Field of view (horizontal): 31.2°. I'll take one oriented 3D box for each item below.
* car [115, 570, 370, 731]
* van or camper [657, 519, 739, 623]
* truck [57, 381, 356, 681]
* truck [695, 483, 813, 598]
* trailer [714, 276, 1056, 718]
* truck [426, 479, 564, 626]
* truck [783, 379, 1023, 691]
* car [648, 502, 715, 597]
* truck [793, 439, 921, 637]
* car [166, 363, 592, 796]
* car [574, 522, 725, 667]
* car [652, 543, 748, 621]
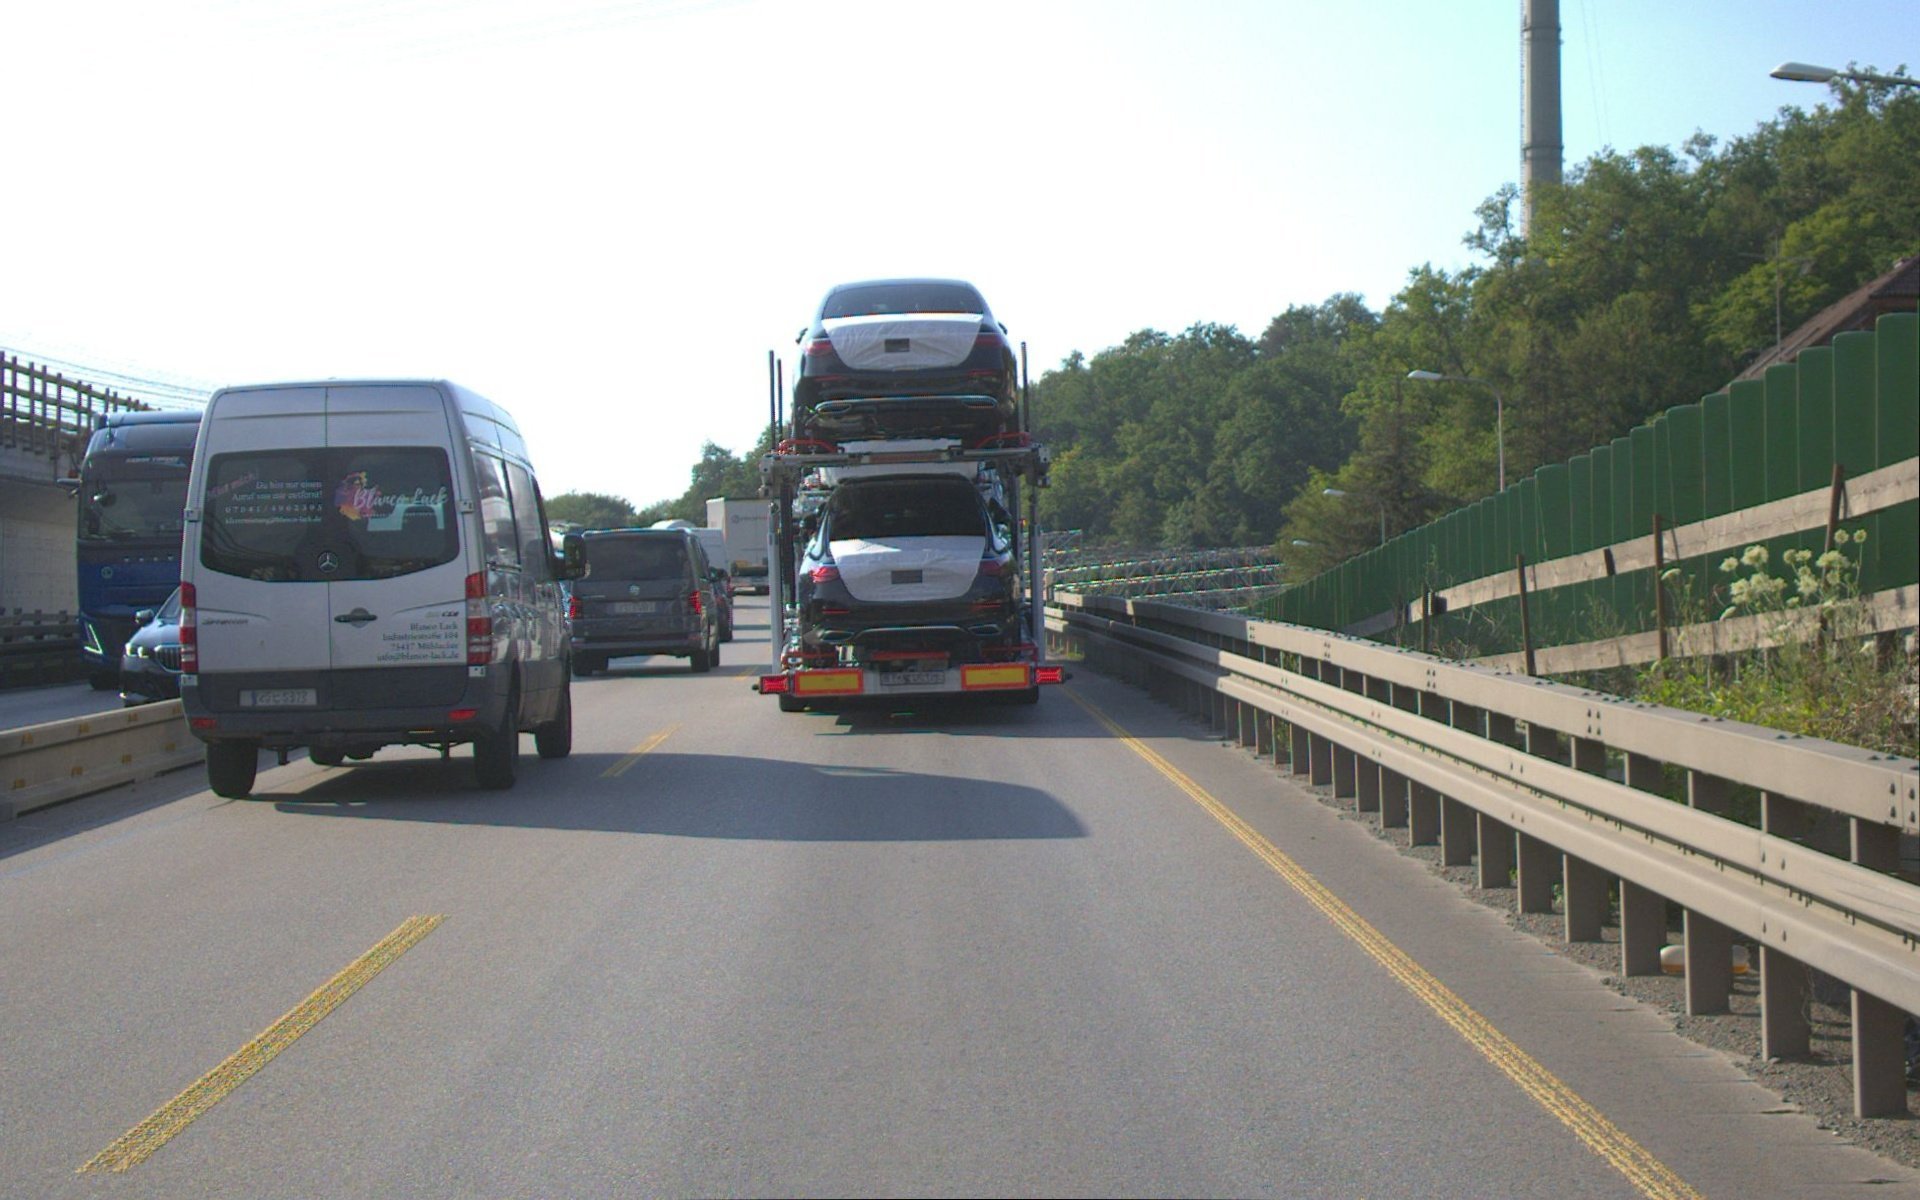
[{"bbox_3d":[-7.696,0.533,37.310,1.837,1.588,4.869,2,-1,-2],"label":"car"},{"bbox_3d":[-6.821,-0.721,89.909,1.968,2.583,5.042,2,-1,-3],"label":"van or camper"},{"bbox_3d":[-11.364,-1.011,52.811,2.624,4.098,9.628,-2,1,-2],"label":"truck"},{"bbox_3d":[-8.779,-2.441,145.097,4.064,4.663,10.594,0,0,-8],"label":"truck"},{"bbox_3d":[-0.575,-0.787,35.502,2.682,3.523,15.288,1,0,0],"label":"trailer"},{"bbox_3d":[-14.196,-1.400,106.182,2.982,4.139,15.857,1,0,-4],"label":"truck"},{"bbox_3d":[-0.672,-0.721,43.116,2.682,3.523,7.193,1,0,0],"label":"truck"},{"bbox_3d":[-15.312,-2.744,188.667,3.444,5.018,9.654,1,0,-5],"label":"car"},{"bbox_3d":[-2.569,-1.464,83.740,2.907,4.591,7.287,0,0,-3],"label":"truck"},{"bbox_3d":[-3.844,-0.149,23.751,1.993,2.639,5.530,0,0,0],"label":"car"},{"bbox_3d":[-4.313,-0.048,48.191,1.808,1.897,4.000,2,-1,-2],"label":"car"},{"bbox_3d":[-5.321,-0.375,70.707,1.725,1.517,3.973,1,0,-1],"label":"car"}]
